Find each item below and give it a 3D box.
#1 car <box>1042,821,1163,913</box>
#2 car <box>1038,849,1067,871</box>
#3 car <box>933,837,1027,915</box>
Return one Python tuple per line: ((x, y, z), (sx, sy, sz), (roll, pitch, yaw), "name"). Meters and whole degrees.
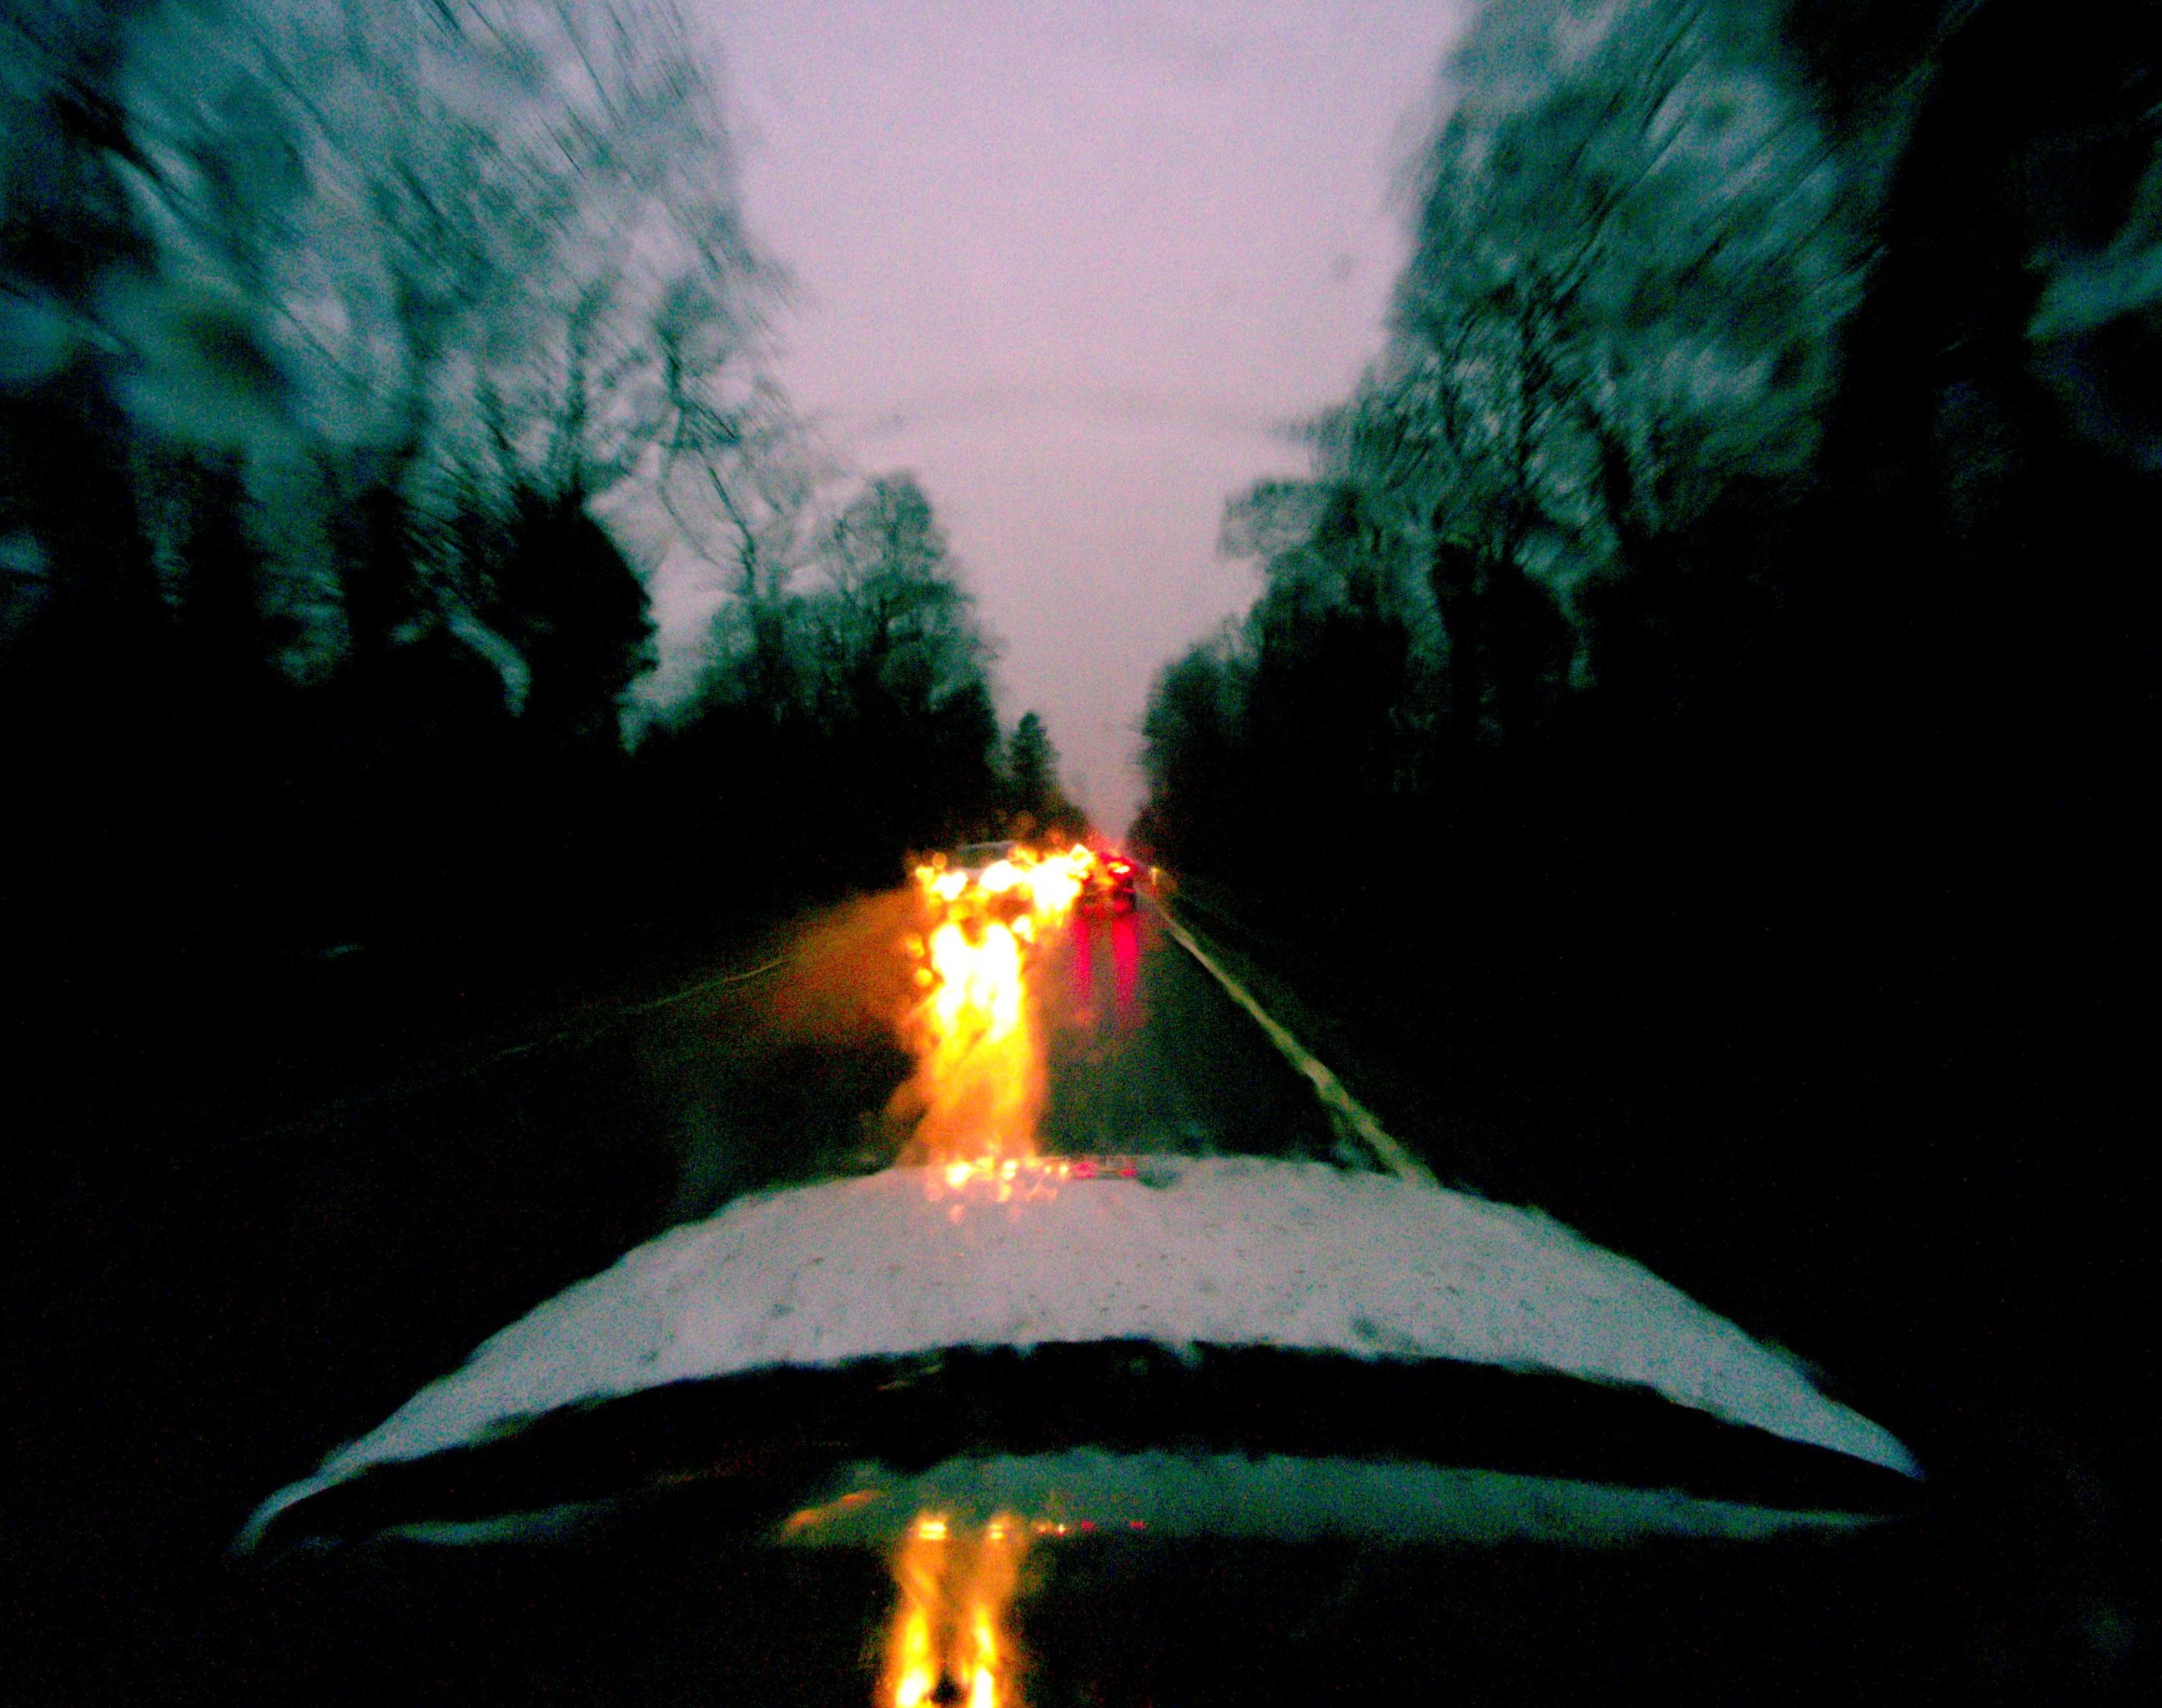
((0.711, 0.347, 24.852), (3.171, 2.386, 6.640), (-1, 0, 2), "car")
((-2.031, 0.434, 59.491), (1.747, 1.457, 3.639), (-4, 0, 2), "car")
((-2.899, 0.582, 24.507), (2.000, 1.989, 5.032), (-4, 0, 1), "car")
